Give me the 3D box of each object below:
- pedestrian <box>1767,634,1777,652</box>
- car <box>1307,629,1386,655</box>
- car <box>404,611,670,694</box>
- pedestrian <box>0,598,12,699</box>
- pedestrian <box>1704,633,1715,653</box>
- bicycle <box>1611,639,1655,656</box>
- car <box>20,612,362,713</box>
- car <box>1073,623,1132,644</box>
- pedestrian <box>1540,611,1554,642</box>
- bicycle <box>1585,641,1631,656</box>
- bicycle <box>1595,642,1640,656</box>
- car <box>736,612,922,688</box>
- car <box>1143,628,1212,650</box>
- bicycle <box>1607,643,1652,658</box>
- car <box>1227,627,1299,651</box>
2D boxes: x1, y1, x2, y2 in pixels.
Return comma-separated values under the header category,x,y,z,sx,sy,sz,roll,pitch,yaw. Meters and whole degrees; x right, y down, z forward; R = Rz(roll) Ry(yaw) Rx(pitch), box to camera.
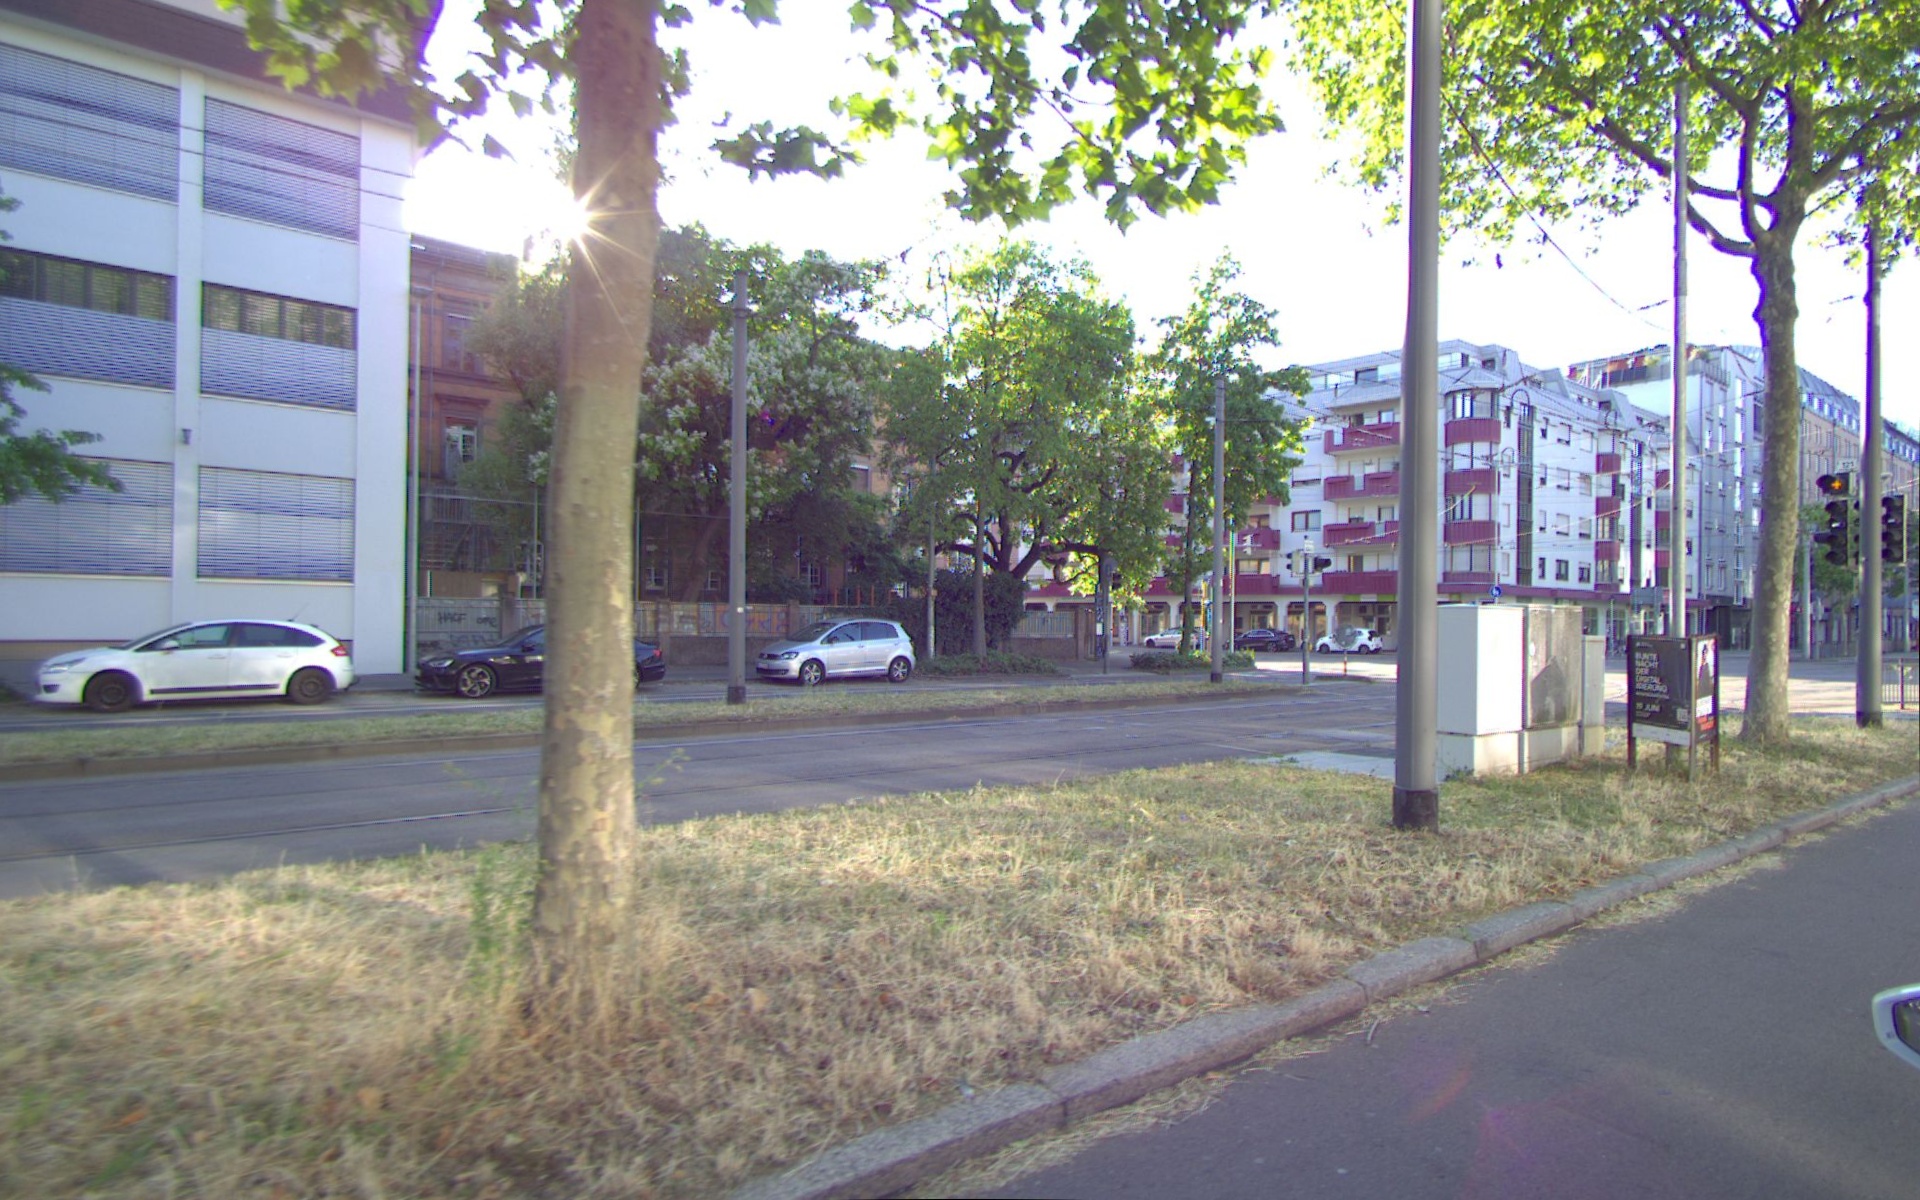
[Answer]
category,x,y,z,sx,sy,sz,roll,pitch,yaw
pedestrian,66.933,3.515,82.779,0.523,1.478,0.506,1,-1,-38
car,22.658,2.454,58.959,3.943,1.483,1.792,-1,-2,42
car,-8.488,1.010,20.358,4.610,1.495,1.978,2,-2,-39
pedestrian,-16.017,0.783,16.392,0.726,1.642,0.629,2,0,-41
pedestrian,56.024,3.212,75.084,0.523,1.478,0.507,1,-1,-36
bicycle,39.739,2.784,59.333,0.488,0.963,2.152,1,-2,-39
car,-12.795,0.984,17.010,4.368,1.490,1.978,2,-2,-39
car,10.156,2.412,71.857,3.945,1.483,1.791,-2,-2,44
pedestrian,33.389,1.501,57.151,0.520,1.721,0.509,1,-1,-23
bicycle,37.358,2.808,57.958,0.635,0.797,2.152,1,-2,-39
bicycle,38.106,2.839,58.208,0.488,0.797,2.152,1,-2,-39
car,-3.190,1.181,24.828,4.142,1.711,1.978,2,-1,-39
car,14.486,2.586,67.041,4.213,1.483,1.791,-2,-2,44
bicycle,39.256,2.935,58.908,0.523,0.835,2.152,1,-2,-39
car,18.830,2.411,62.509,3.943,1.483,1.792,-1,-2,42
